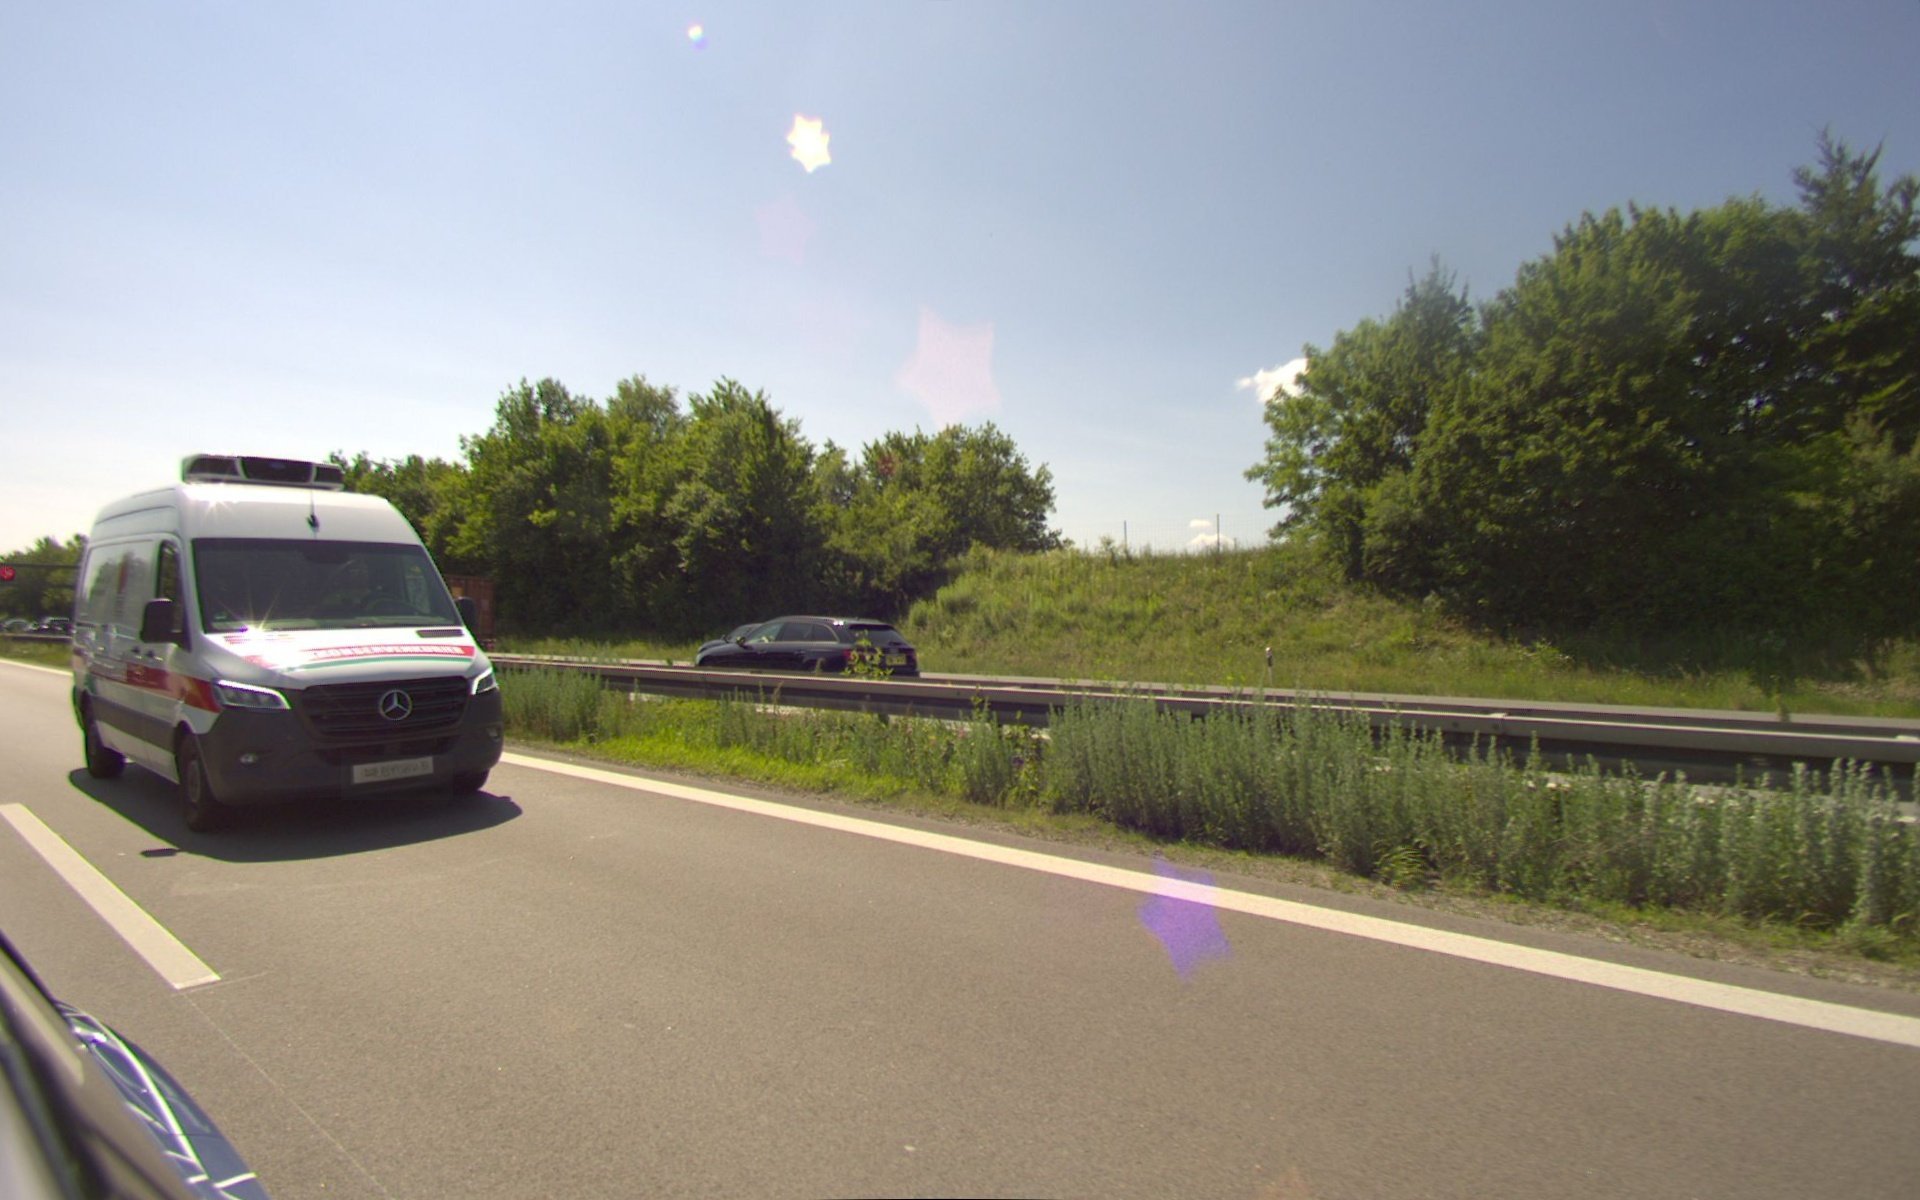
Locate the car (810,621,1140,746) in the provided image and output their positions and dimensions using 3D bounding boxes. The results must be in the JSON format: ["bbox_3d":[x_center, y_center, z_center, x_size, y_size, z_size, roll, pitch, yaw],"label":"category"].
[{"bbox_3d":[0.074,1.112,15.163,4.953,1.577,1.814,-1,-2,41],"label":"car"}]

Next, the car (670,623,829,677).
[{"bbox_3d":[-6.196,1.442,29.437,4.920,1.449,1.876,-1,-4,40],"label":"car"}]

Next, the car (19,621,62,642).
[{"bbox_3d":[-61.469,2.095,67.613,4.118,1.327,1.650,-1,-2,41],"label":"car"}]

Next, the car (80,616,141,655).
[{"bbox_3d":[-43.704,1.800,52.046,3.998,1.918,1.797,-1,-2,41],"label":"car"}]

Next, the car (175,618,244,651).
[{"bbox_3d":[-40.395,1.812,54.460,4.260,1.703,1.974,-1,-2,39],"label":"car"}]

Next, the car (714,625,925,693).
[{"bbox_3d":[-3.166,1.254,22.169,4.760,1.350,1.876,-1,-4,40],"label":"car"}]

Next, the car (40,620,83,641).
[{"bbox_3d":[-73.371,2.455,82.622,4.571,1.642,1.973,-1,-2,40],"label":"car"}]

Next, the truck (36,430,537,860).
[{"bbox_3d":[-6.333,0.304,8.976,6.688,2.561,1.973,-1,0,41],"label":"truck"}]

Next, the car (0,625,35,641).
[{"bbox_3d":[-90.453,3.159,96.925,5.618,1.486,1.973,-1,-2,40],"label":"car"}]

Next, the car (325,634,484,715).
[{"bbox_3d":[-14.638,1.861,26.551,4.893,1.880,1.974,-1,-2,39],"label":"car"}]

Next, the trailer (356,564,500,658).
[{"bbox_3d":[-23.576,0.552,44.608,8.401,3.798,2.651,-1,-3,41],"label":"trailer"}]
